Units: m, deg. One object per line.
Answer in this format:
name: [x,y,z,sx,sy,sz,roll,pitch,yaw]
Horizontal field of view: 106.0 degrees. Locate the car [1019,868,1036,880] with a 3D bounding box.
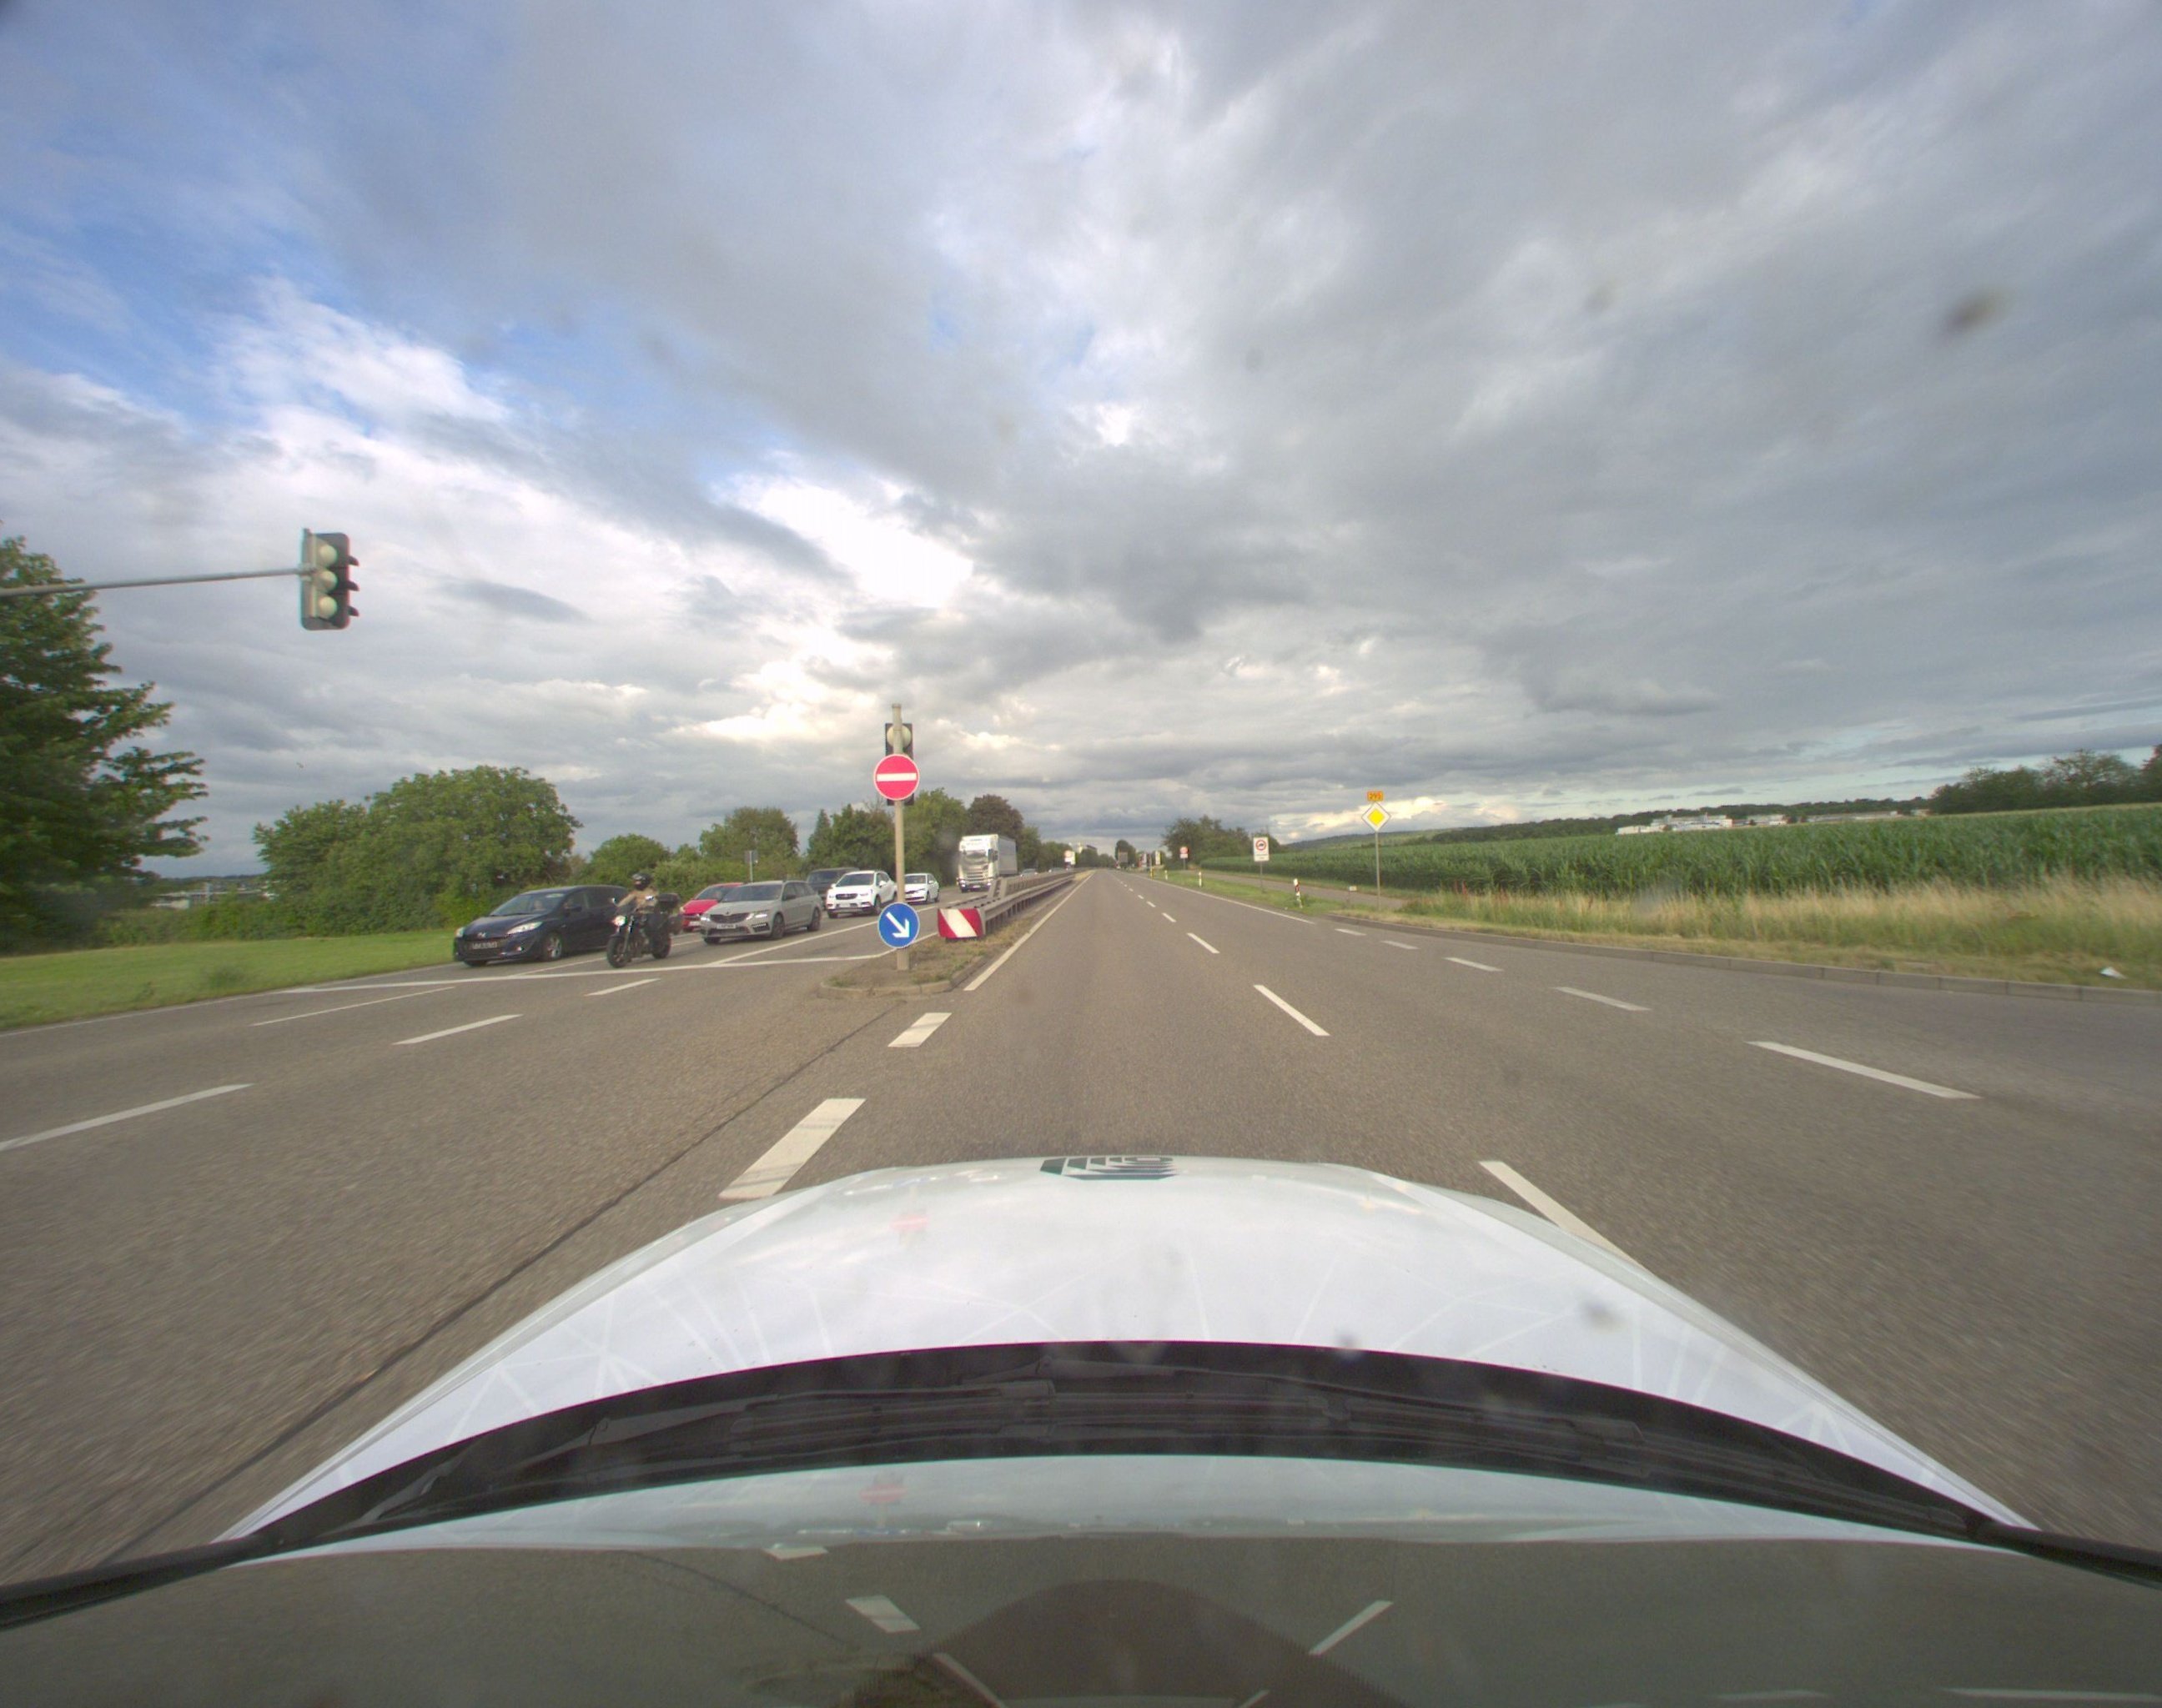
car: [-6.725,2.511,103.062,1.782,1.386,4.161,-2,-1,1]

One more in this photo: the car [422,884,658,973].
car: [-11.902,1.551,18.447,1.901,1.535,4.939,-2,-1,1]

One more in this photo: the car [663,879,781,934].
car: [-11.609,1.650,26.671,1.901,1.465,4.184,-2,-1,1]

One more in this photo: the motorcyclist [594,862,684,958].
motorcyclist: [-8.342,1.029,15.442,0.913,1.709,1.276,-3,-1,1]

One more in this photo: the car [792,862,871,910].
car: [-11.666,1.486,38.483,1.986,2.014,4.948,-3,-1,2]

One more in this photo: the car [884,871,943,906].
car: [-7.842,1.606,38.536,1.782,1.444,4.161,-2,-1,1]

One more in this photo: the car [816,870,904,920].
car: [-8.118,1.455,30.347,1.901,1.610,4.405,-2,-1,1]

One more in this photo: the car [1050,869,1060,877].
car: [-5.345,3.904,168.680,1.860,1.477,4.826,-2,-1,1]

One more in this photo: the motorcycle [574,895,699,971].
motorcycle: [-8.330,1.439,15.434,0.913,1.203,2.479,-3,-1,2]

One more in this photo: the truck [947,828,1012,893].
truck: [-7.103,0.504,58.011,3.462,4.150,6.050,-4,-1,1]

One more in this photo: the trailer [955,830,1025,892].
trailer: [-6.925,0.600,64.697,3.453,4.150,13.918,-4,-1,1]

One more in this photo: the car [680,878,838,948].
car: [-8.105,1.425,21.137,1.901,1.428,5.153,-2,-1,1]
